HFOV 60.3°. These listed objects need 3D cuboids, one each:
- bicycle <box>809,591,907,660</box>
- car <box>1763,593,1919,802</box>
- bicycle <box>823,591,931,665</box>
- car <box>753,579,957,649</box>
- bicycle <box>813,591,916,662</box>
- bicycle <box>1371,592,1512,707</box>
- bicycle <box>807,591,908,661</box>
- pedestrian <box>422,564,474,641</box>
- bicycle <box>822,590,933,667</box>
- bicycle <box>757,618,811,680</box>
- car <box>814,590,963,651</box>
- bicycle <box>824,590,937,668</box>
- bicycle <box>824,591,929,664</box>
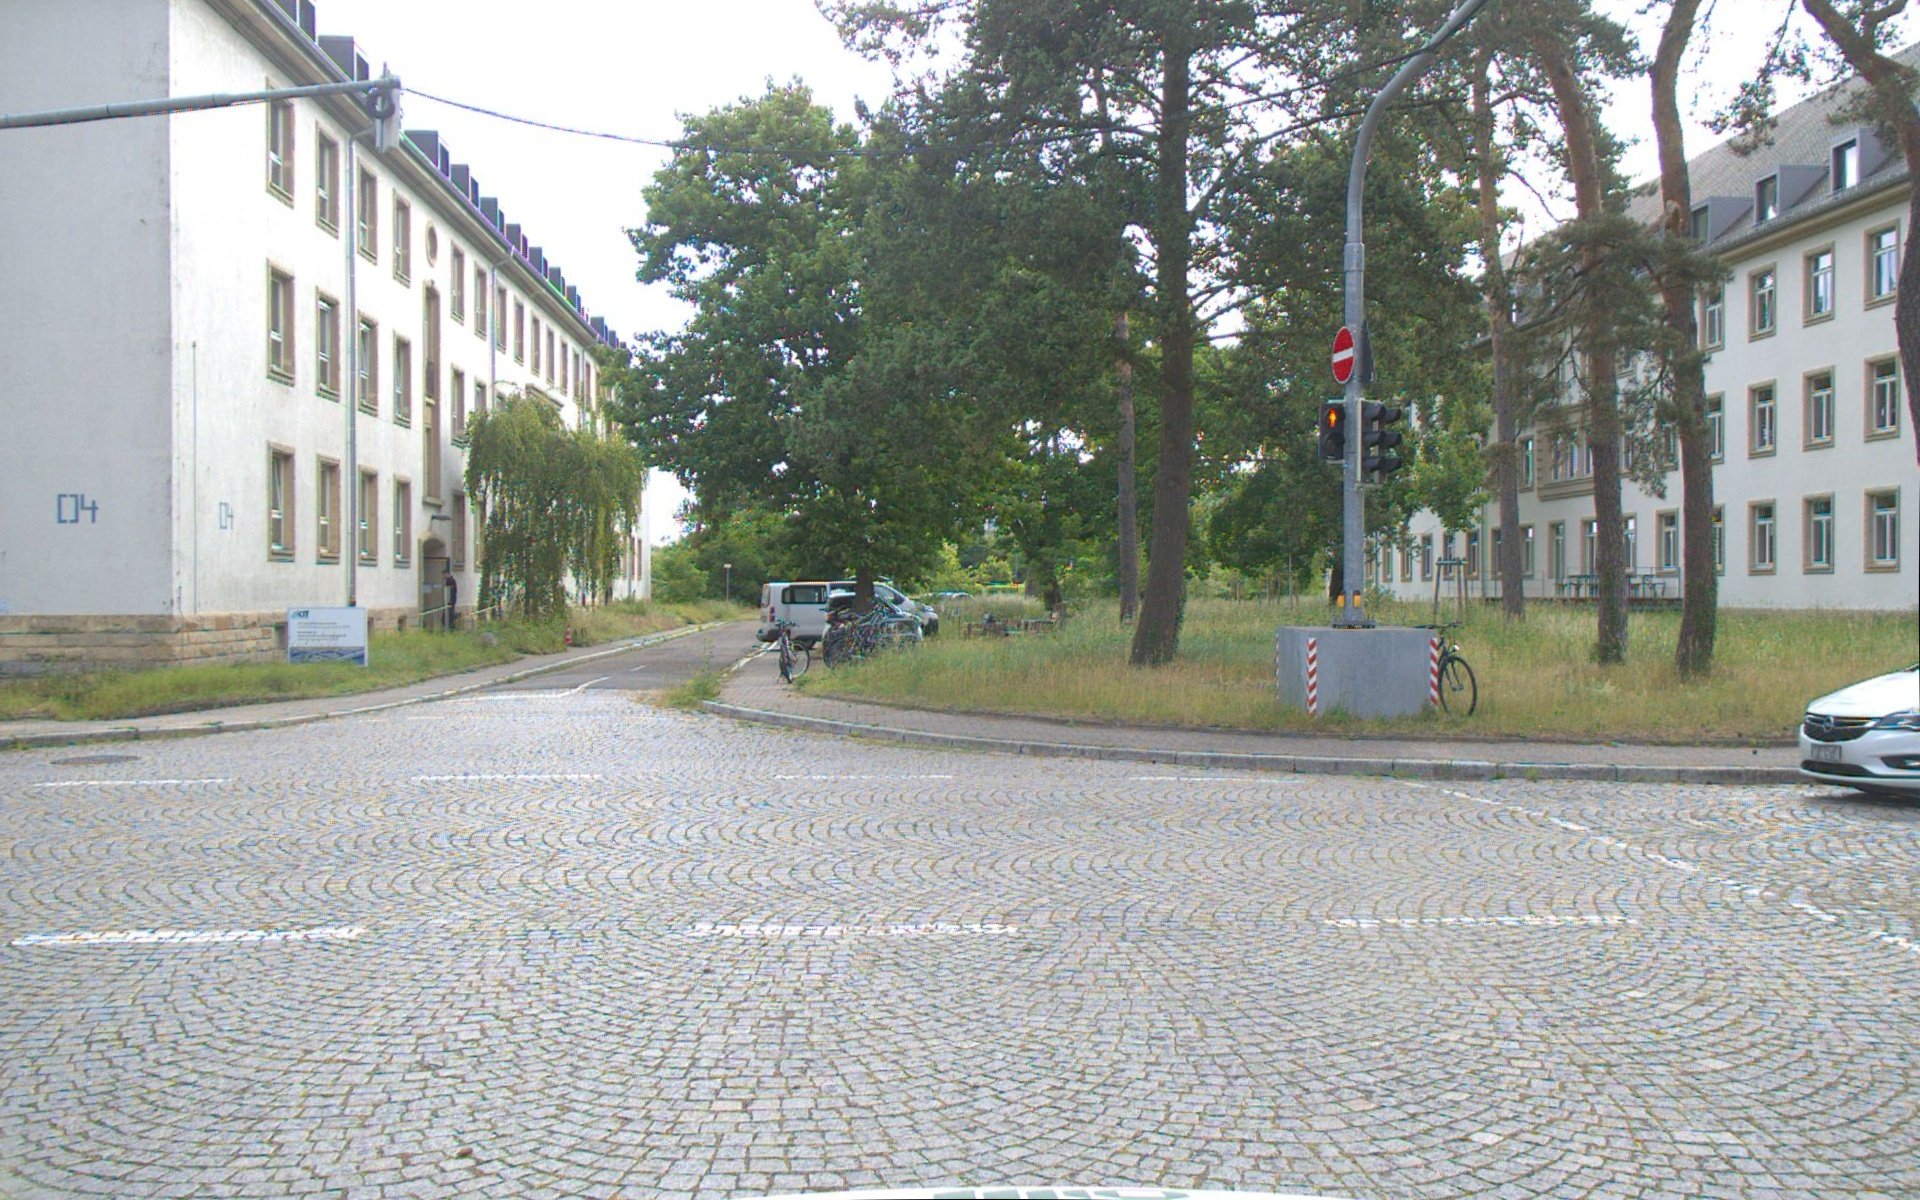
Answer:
[{"bbox_3d":[-2.125,0.522,34.499,2.028,1.402,0.619,0,0,-3],"label":"bicycle"},{"bbox_3d":[8.593,0.677,12.510,4.159,1.441,1.886,0,-1,-4],"label":"car"},{"bbox_3d":[-1.577,0.525,31.450,2.028,1.402,0.619,0,0,-3],"label":"bicycle"},{"bbox_3d":[-3.057,0.371,47.971,5.600,1.944,2.220,0,0,-16],"label":"car"},{"bbox_3d":[-1.894,0.521,33.027,2.028,1.402,0.619,0,0,-3],"label":"bicycle"},{"bbox_3d":[5.297,0.515,18.327,0.891,1.197,1.872,0,0,-5],"label":"bicycle"},{"bbox_3d":[-2.090,0.520,33.753,2.028,1.402,0.619,0,0,-3],"label":"bicycle"},{"bbox_3d":[-13.856,0.064,44.763,1.064,2.049,1.022,0,0,1],"label":"pedestrian"},{"bbox_3d":[-1.534,0.524,30.827,2.028,1.402,0.619,0,0,-3],"label":"bicycle"},{"bbox_3d":[-2.990,0.814,28.258,0.605,0.980,2.077,0,0,3],"label":"bicycle"},{"bbox_3d":[-1.965,0.533,44.670,3.859,1.571,1.996,0,0,-9],"label":"car"},{"bbox_3d":[-1.447,0.524,30.161,2.028,1.402,0.619,0,0,-3],"label":"bicycle"},{"bbox_3d":[-1.621,0.528,32.245,2.028,1.402,0.619,0,0,-3],"label":"bicycle"}]
